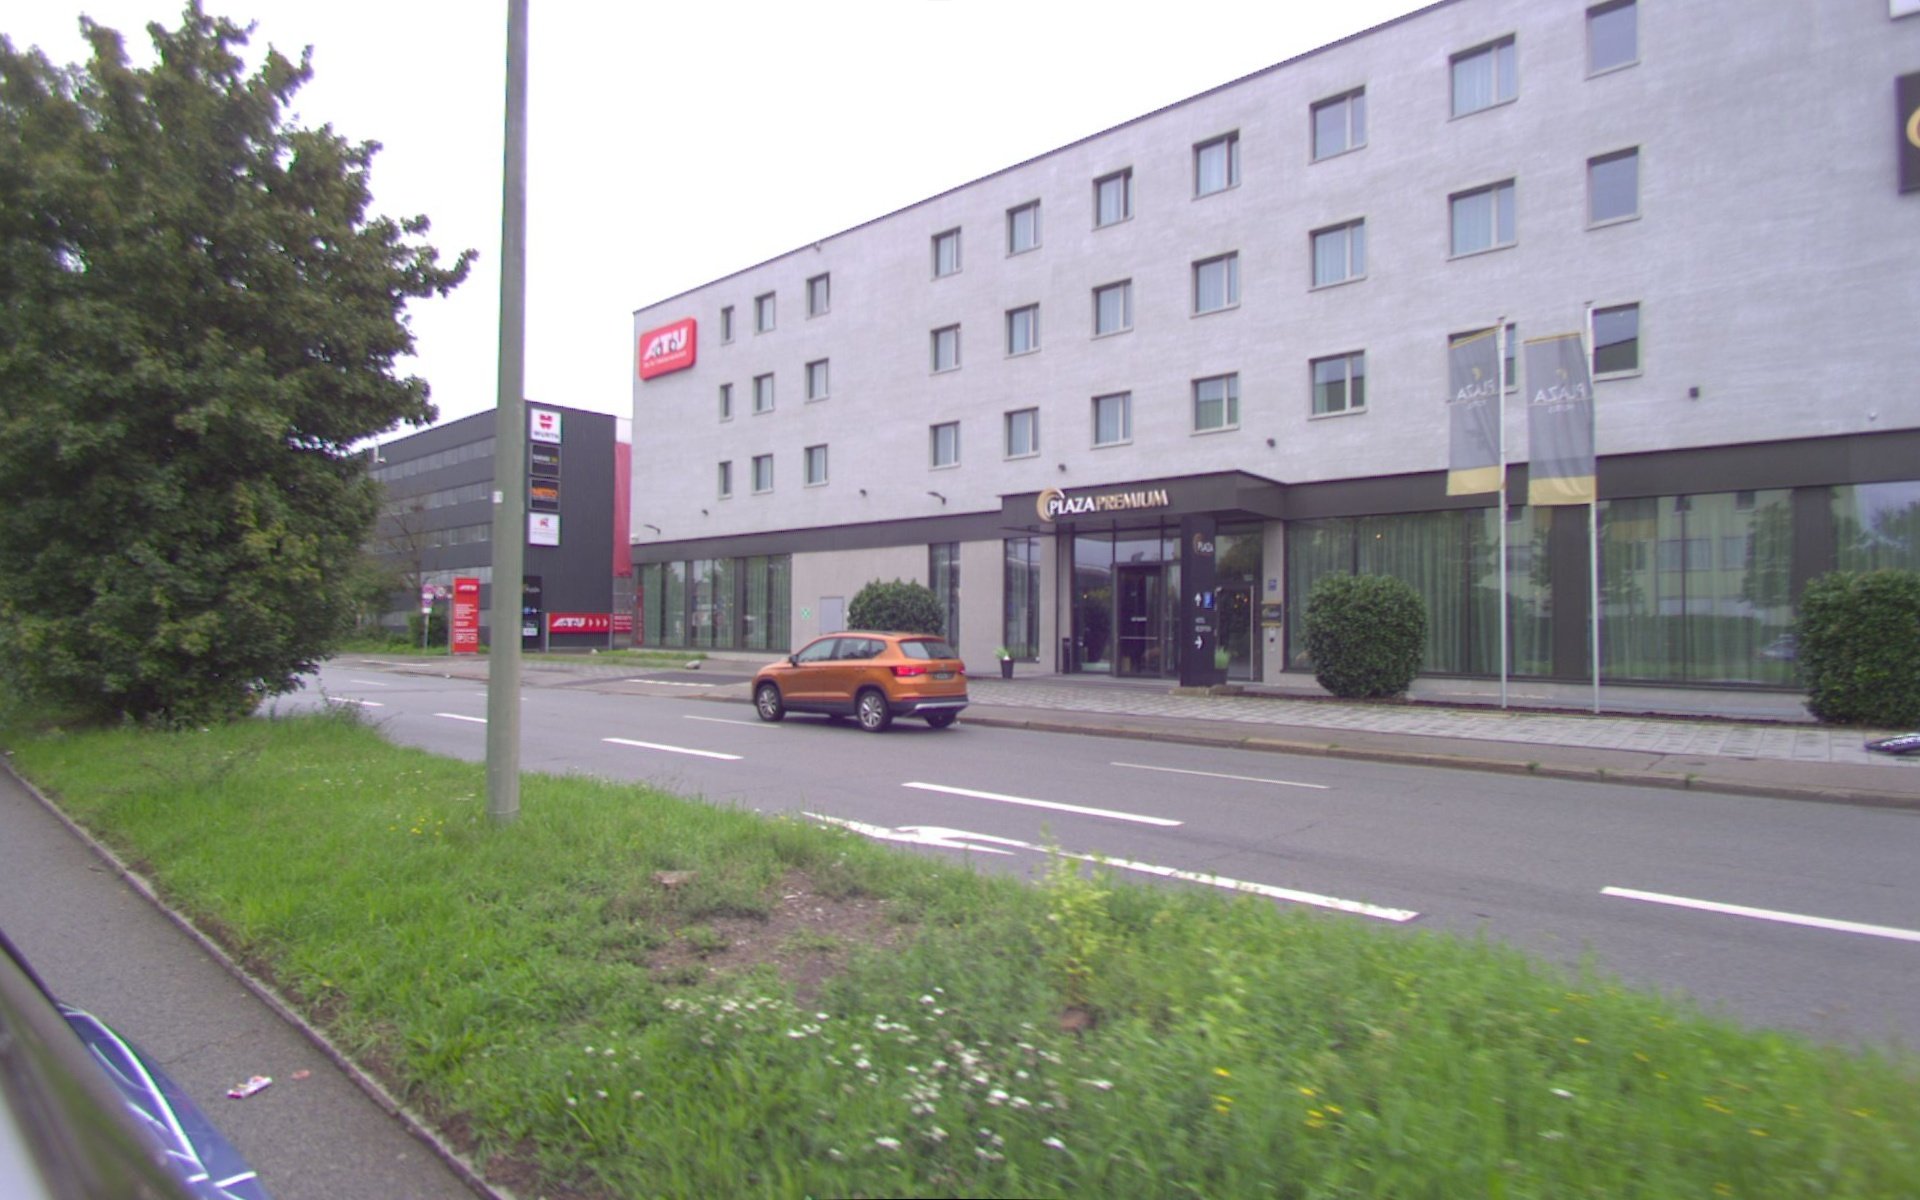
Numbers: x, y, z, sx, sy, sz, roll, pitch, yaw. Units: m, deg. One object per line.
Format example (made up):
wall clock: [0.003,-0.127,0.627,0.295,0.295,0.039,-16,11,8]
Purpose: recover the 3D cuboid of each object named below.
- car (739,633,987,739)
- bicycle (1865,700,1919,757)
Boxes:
car: [-1.737,1.369,17.165,4.302,1.560,1.717,-1,-3,41]
bicycle: [11.602,1.512,11.653,1.731,0.553,0.712,-1,1,42]
